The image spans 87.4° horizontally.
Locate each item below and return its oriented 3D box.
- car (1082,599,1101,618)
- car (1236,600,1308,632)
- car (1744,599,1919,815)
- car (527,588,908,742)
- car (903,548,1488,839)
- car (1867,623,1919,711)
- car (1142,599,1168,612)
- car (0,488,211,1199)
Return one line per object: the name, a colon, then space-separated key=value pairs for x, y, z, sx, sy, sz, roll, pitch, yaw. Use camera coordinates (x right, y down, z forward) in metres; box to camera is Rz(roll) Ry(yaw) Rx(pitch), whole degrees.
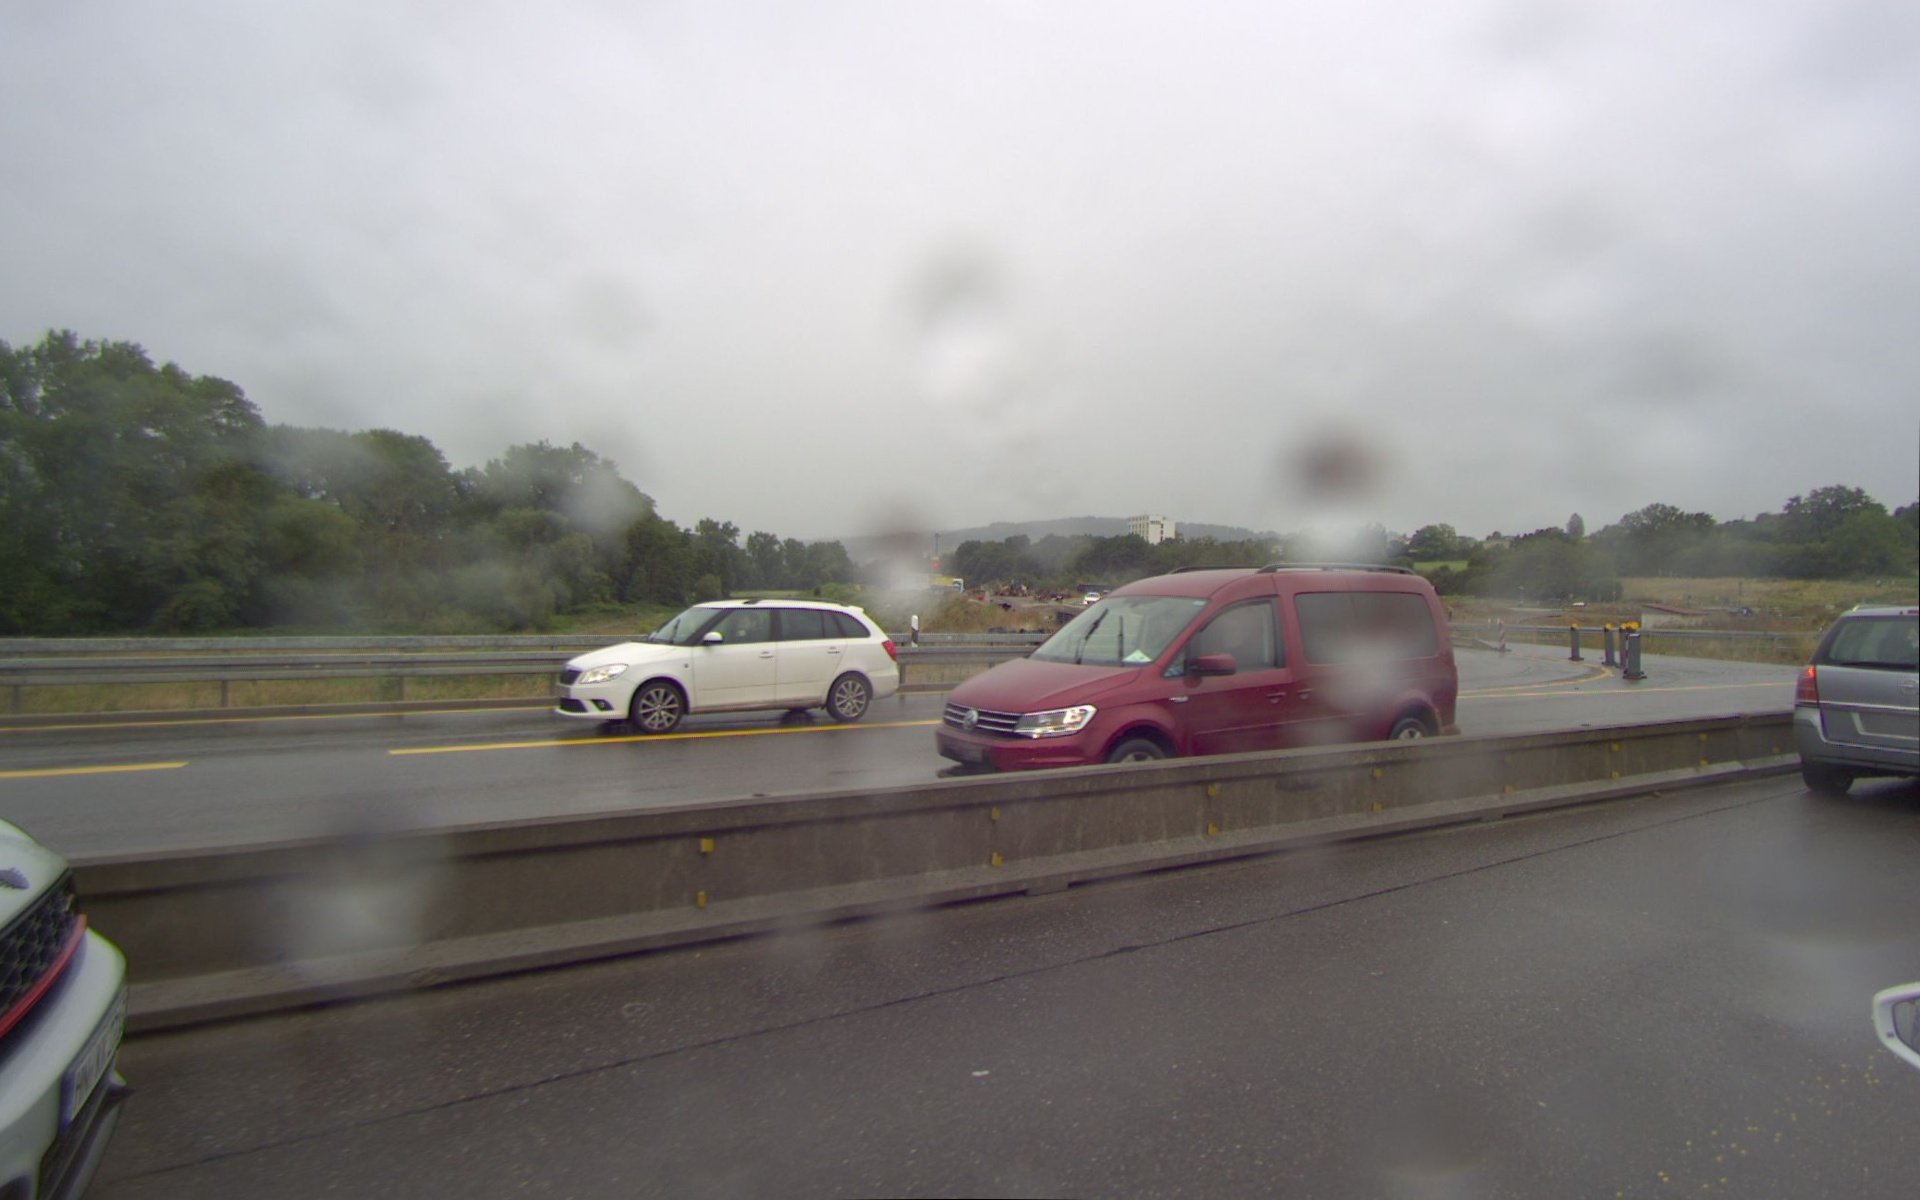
car: x=14.848 y=0.924 z=113.352 sx=2.029 sy=2.090 sz=4.846 roll=1 pitch=0 yaw=9
car: x=21.513 y=1.081 z=69.414 sx=2.237 sy=2.040 sz=5.024 roll=1 pitch=0 yaw=-19
car: x=8.939 y=0.849 z=8.730 sx=4.092 sy=1.622 sz=1.984 roll=1 pitch=0 yaw=-31
car: x=-2.902 y=0.701 z=12.444 sx=4.230 sy=1.597 sz=1.833 roll=0 pitch=-1 yaw=-37
car: x=2.072 y=0.590 z=8.213 sx=4.791 sy=1.771 sz=1.835 roll=0 pitch=-1 yaw=-33
car: x=20.384 y=1.319 z=20.211 sx=4.419 sy=1.677 sz=1.984 roll=1 pitch=-1 yaw=-31
car: x=26.910 y=0.773 z=138.736 sx=1.818 sy=1.723 sz=5.034 roll=1 pitch=0 yaw=32
car: x=-3.567 y=0.634 z=1.049 sx=4.257 sy=1.622 sz=1.807 roll=0 pitch=1 yaw=-31
